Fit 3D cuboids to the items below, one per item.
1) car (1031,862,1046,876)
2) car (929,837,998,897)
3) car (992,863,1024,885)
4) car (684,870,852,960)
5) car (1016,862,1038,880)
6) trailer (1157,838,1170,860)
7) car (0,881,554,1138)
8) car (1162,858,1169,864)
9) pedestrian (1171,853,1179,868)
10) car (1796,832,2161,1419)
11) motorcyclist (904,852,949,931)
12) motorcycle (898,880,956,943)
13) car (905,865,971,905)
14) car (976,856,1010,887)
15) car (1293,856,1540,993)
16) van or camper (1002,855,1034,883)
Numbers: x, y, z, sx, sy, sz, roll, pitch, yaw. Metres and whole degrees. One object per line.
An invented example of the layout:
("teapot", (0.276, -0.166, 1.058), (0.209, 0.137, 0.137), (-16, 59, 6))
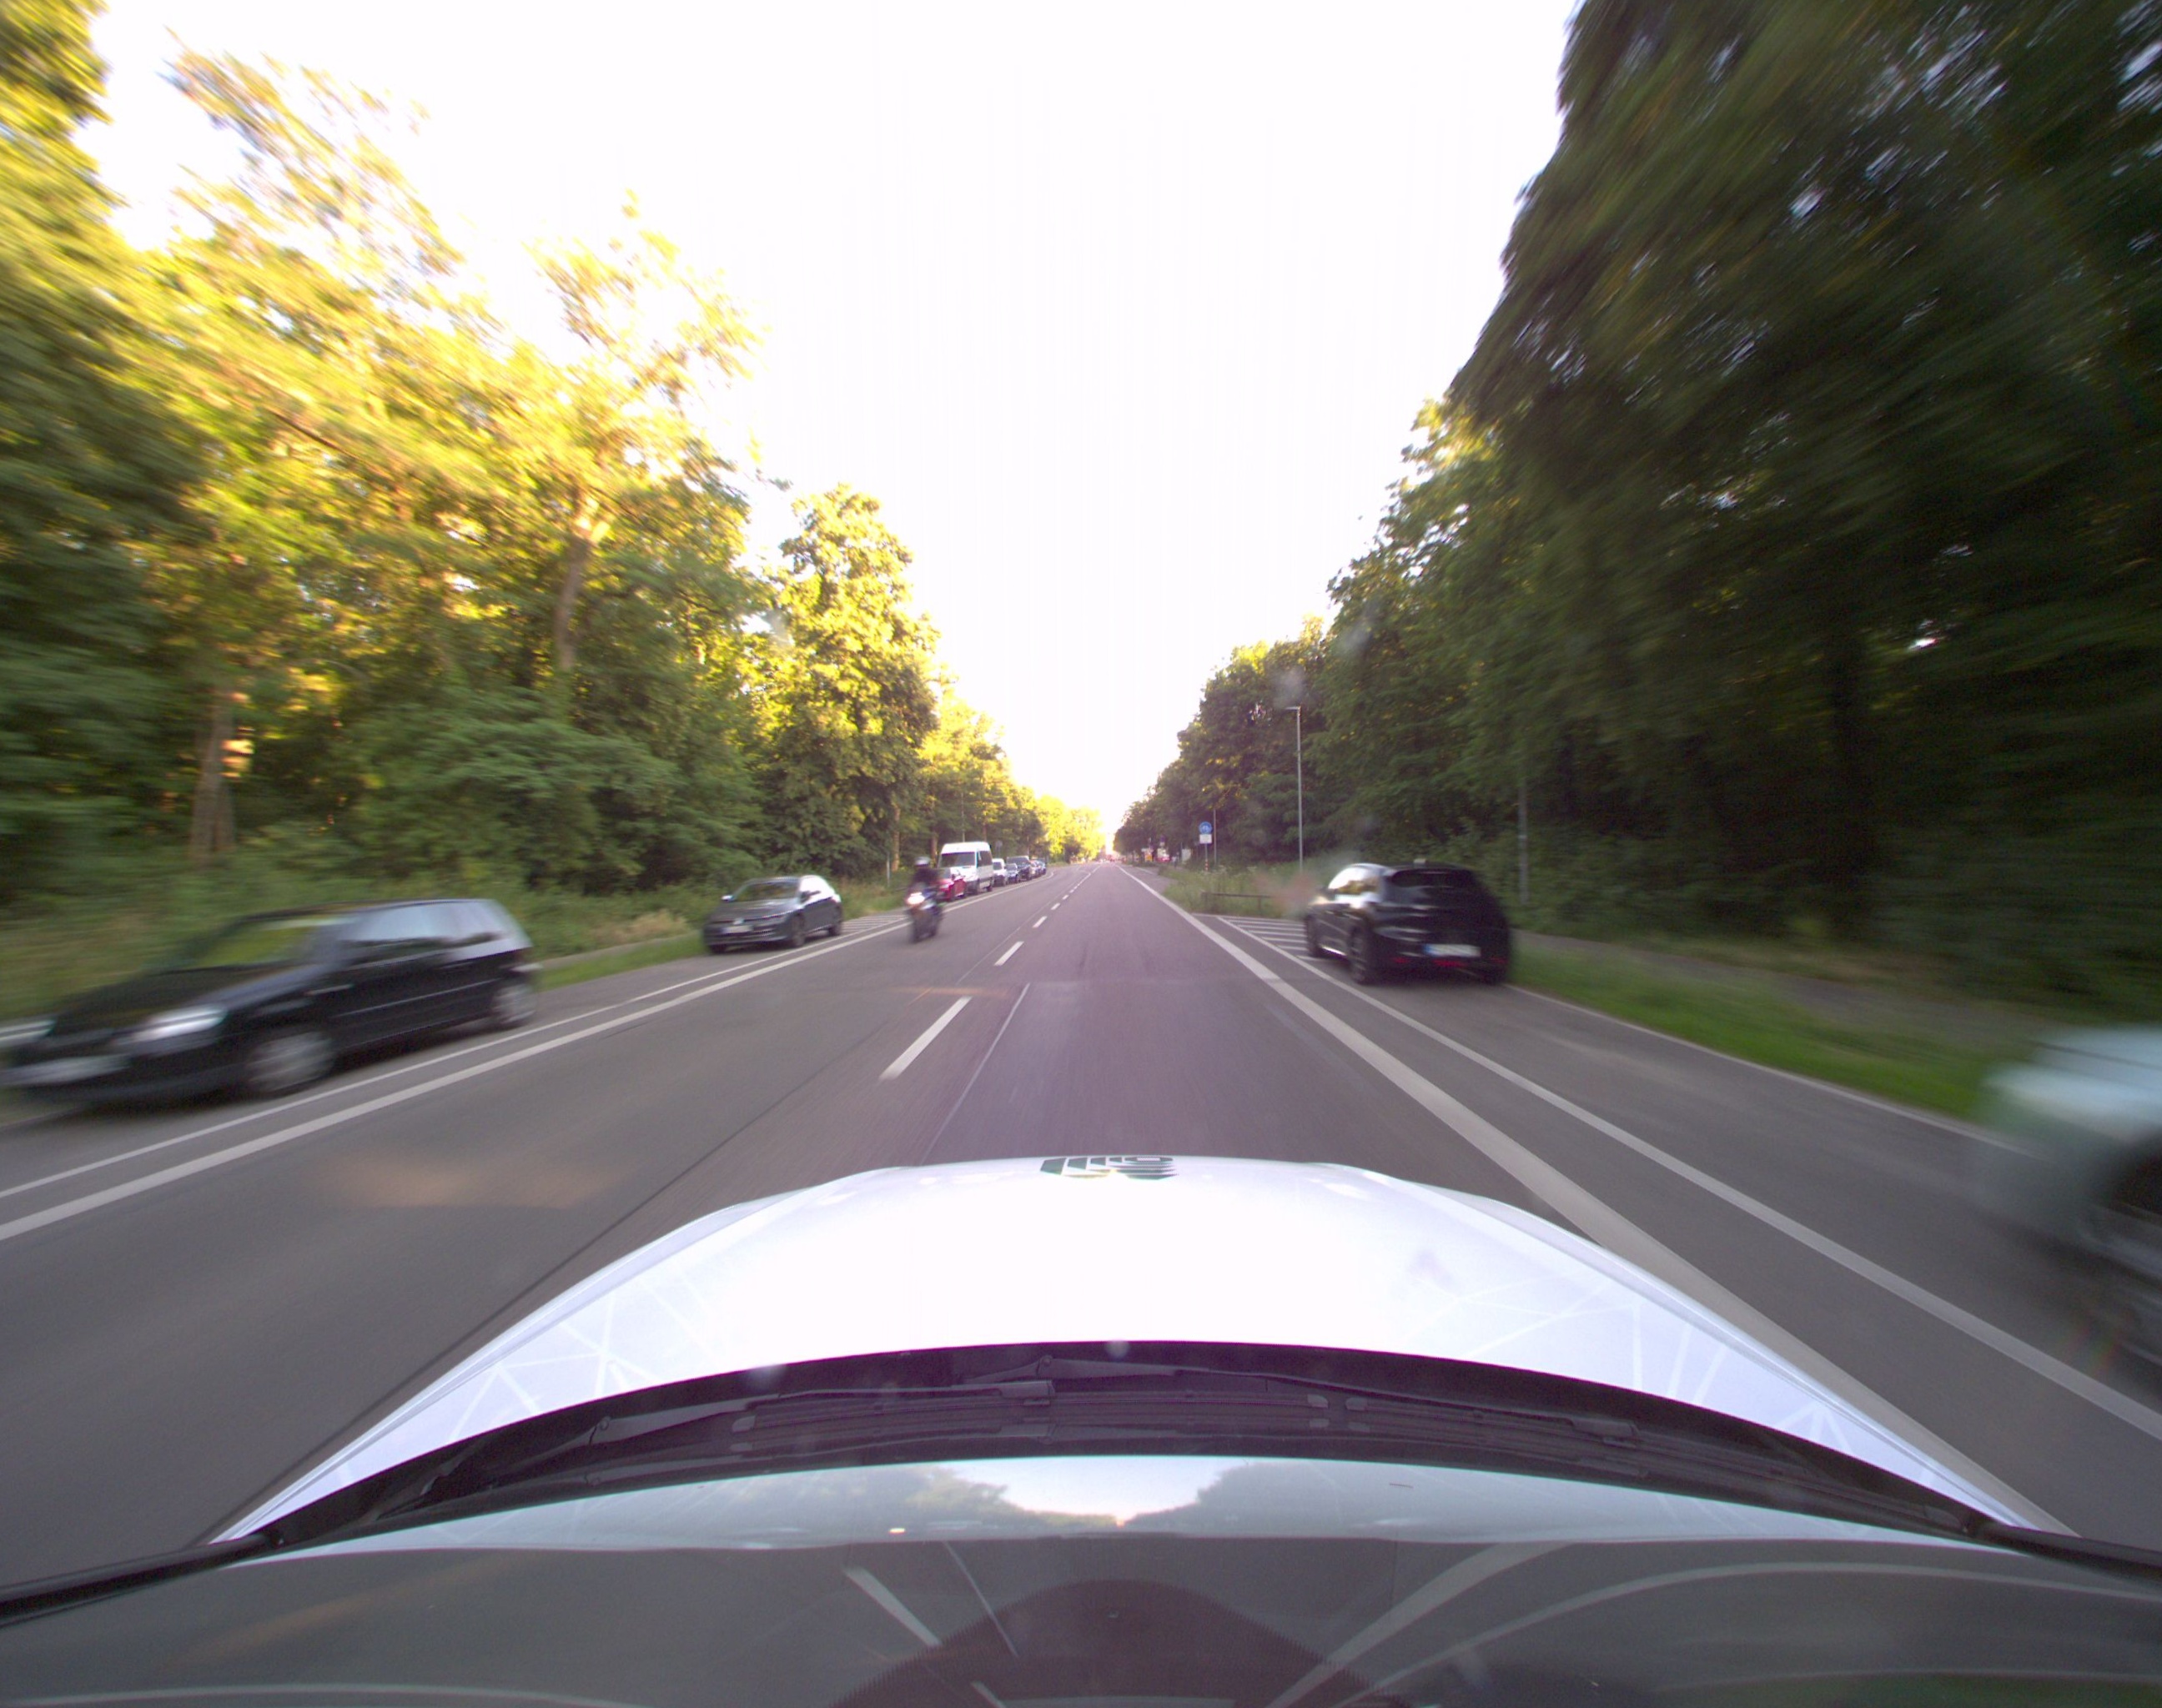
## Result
("car", (-4.881, 1.745, 93.696), (1.613, 1.534, 4.035), (-3, -1, -3))
("car", (-5.743, 0.622, 40.883), (2.071, 2.606, 7.091), (-5, -1, 2))
("car", (-5.165, 1.415, 58.302), (1.663, 1.433, 4.448), (-3, 0, 2))
("car", (-6.386, 1.169, 17.183), (1.840, 1.462, 4.228), (-4, 0, -1))
("car", (-4.919, 1.500, 74.575), (1.663, 1.501, 4.245), (-3, -1, 0))
("trailer", (21.988, -1.293, 218.112), (3.008, 5.462, 7.940), (-2, -1, 3))
("car", (-6.759, 1.097, 7.181), (1.705, 1.508, 3.657), (-4, 0, 1))
("car", (21.379, 1.811, 205.294), (1.761, 1.583, 4.826), (0, -1, 6))
("pedestrian", (11.471, 0.772, 99.275), (0.835, 1.751, 0.726), (-1, -1, 2))
("car", (3.654, 0.702, 1.187), (1.682, 1.546, 4.114), (-2, 0, 2))
("motorcyclist", (-3.110, 0.735, 16.429), (0.601, 1.529, 0.996), (-2, 0, 4))
("motorcycle", (-3.088, 1.122, 16.521), (0.608, 1.126, 1.964), (-2, 0, 5))
("car", (-5.891, 1.250, 34.093), (1.709, 1.430, 4.391), (-3, 0, 3))
("car", (-5.705, 1.162, 53.267), (1.683, 1.858, 4.384), (-4, -2, -1))
("car", (4.153, 0.765, 10.856), (1.704, 1.444, 4.124), (-1, 0, 2))
("van or camper", (-4.998, 1.174, 65.013), (1.996, 2.018, 5.460), (-4, 0, 0))
